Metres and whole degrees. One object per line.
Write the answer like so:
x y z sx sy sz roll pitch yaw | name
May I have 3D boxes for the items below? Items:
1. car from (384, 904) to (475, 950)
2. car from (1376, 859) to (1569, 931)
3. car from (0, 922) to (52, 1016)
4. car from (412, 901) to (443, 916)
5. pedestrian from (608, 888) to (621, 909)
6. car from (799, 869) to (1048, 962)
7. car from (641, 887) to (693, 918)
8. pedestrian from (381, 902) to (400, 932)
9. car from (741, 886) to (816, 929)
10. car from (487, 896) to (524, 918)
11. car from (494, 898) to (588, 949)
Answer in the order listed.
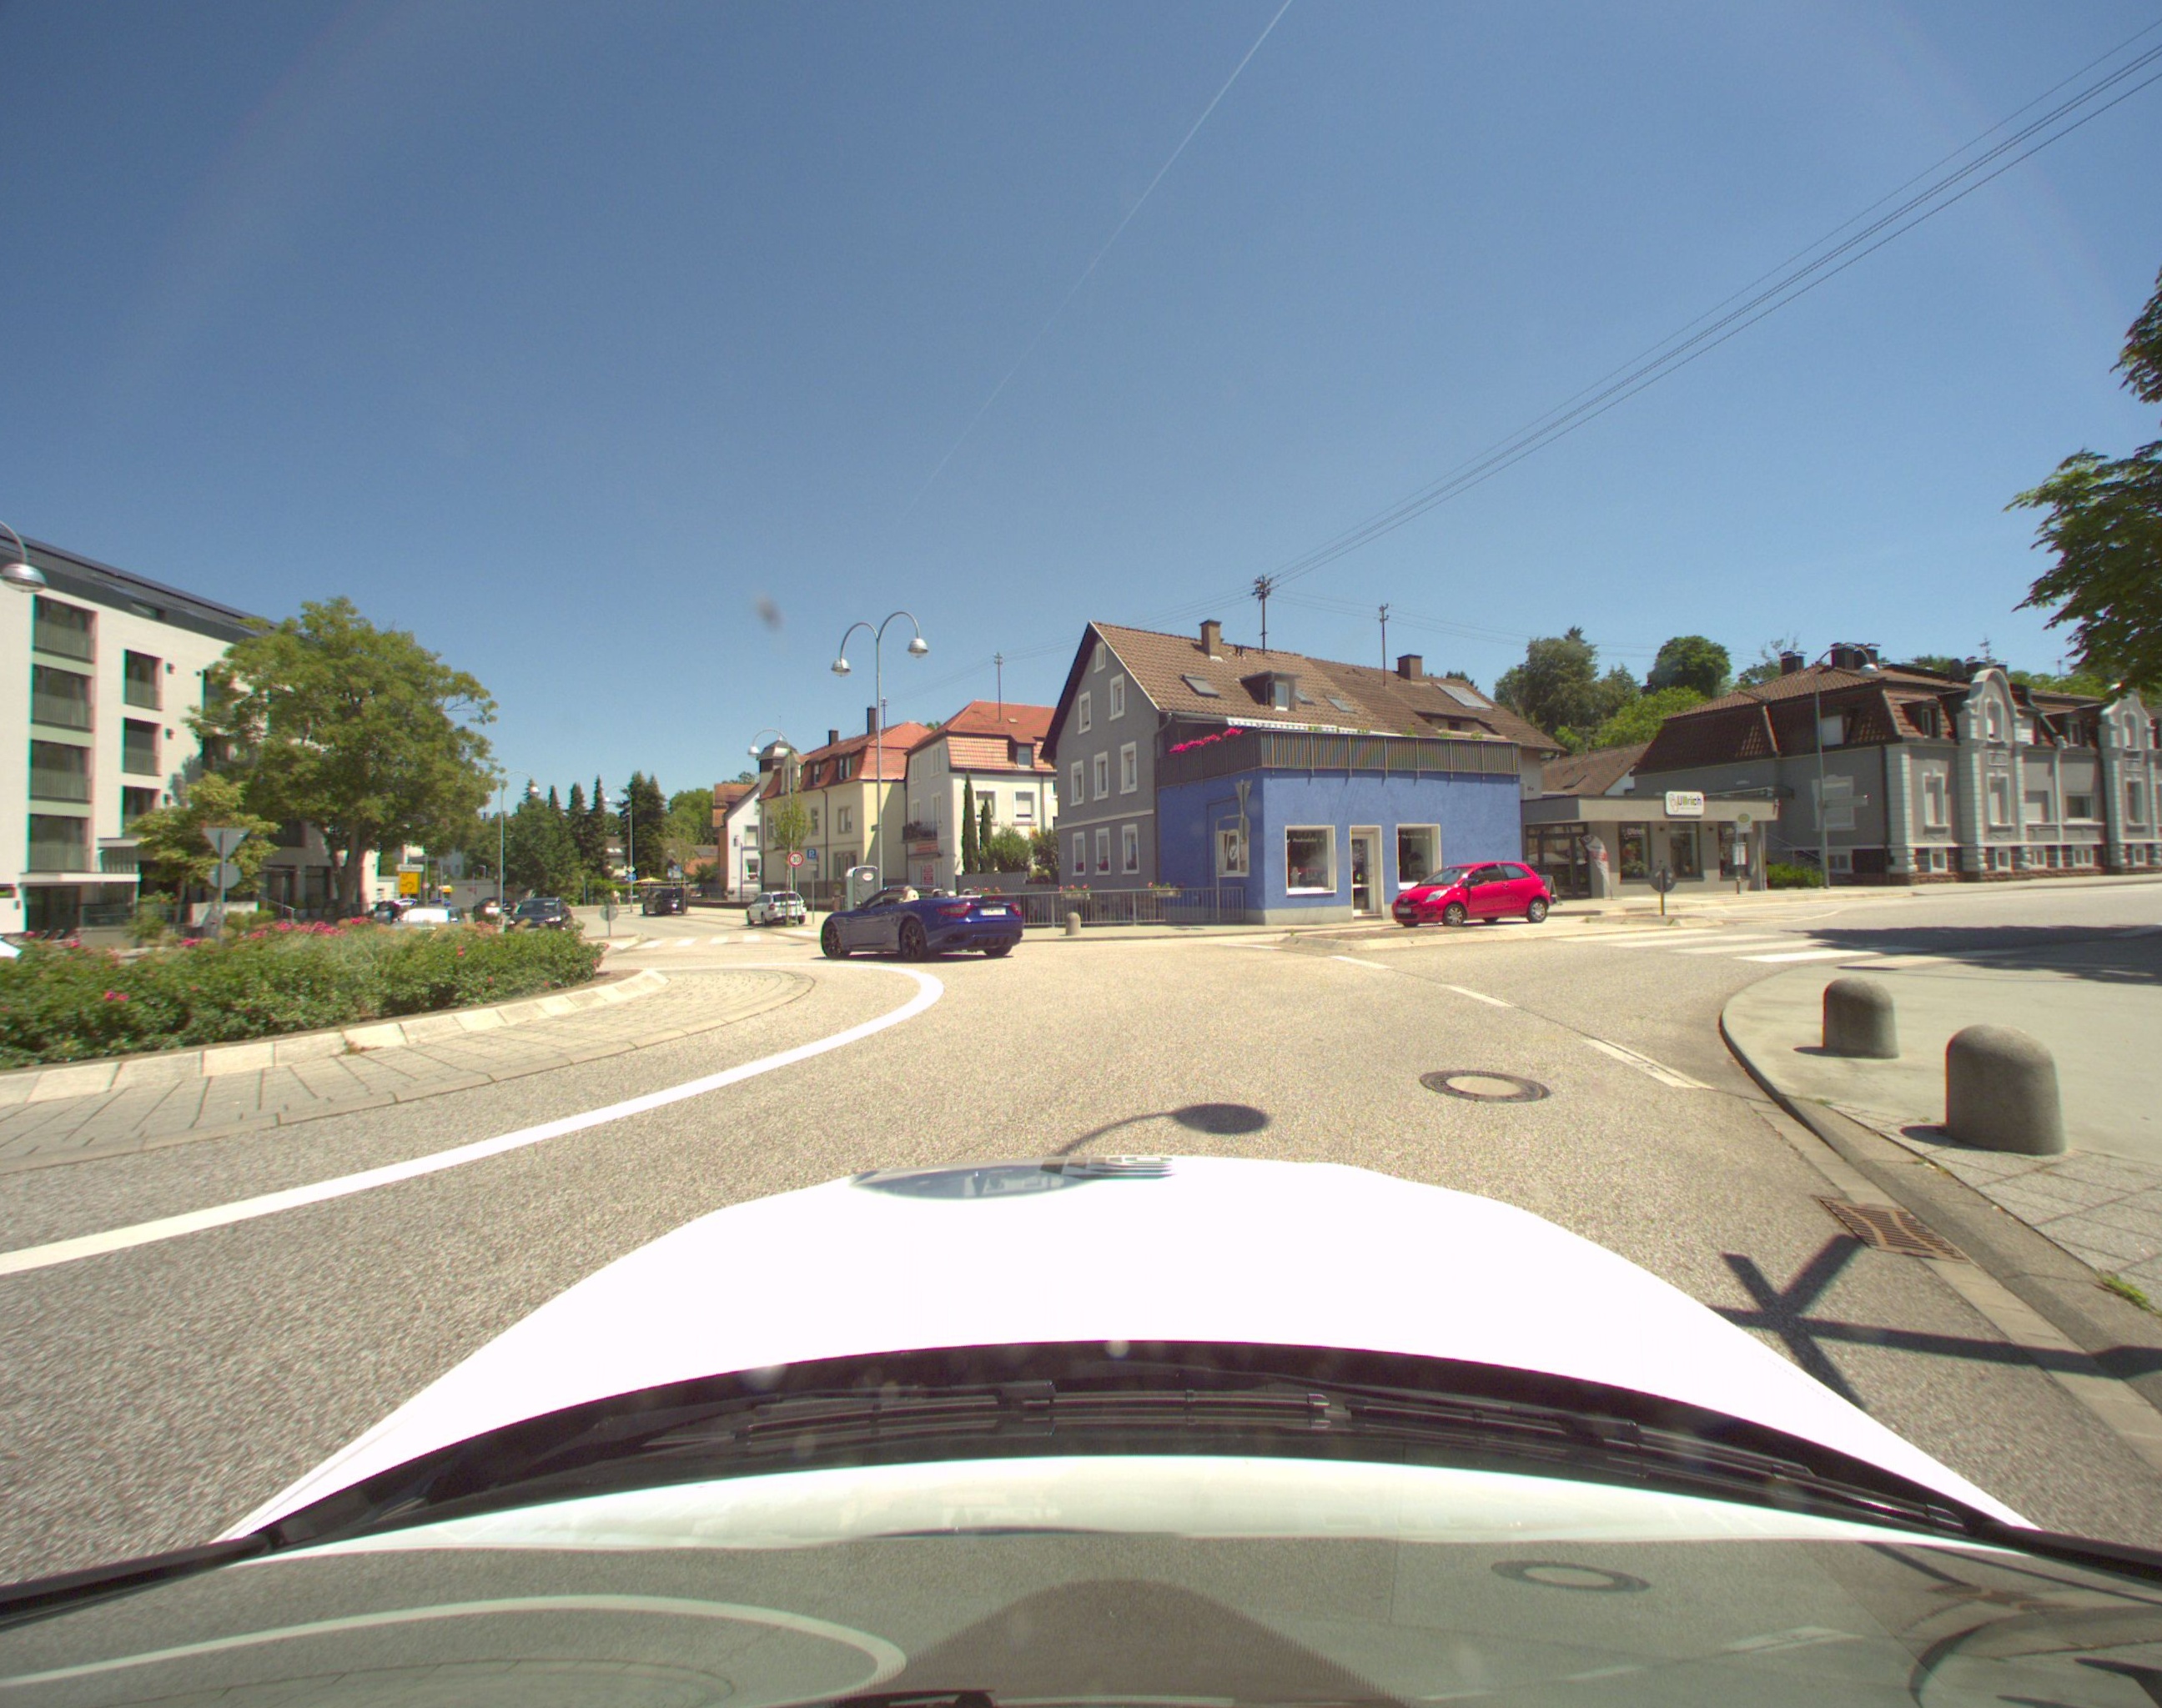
-25.434 2.787 31.940 1.804 1.590 3.967 1 -3 -25 | car
9.450 0.972 19.755 3.996 1.533 1.824 -1 -3 -17 | car
-17.344 1.797 10.817 1.922 1.382 4.284 -4 -1 -2 | car
-64.618 5.398 80.509 3.948 1.378 1.555 -3 -2 38 | car
-42.572 4.047 74.254 0.542 1.814 0.851 0 -2 36 | pedestrian
-2.945 1.109 14.548 4.567 1.398 1.994 -6 -5 42 | car
-27.648 3.205 54.342 2.011 1.865 4.235 2 -2 -42 | car
-34.783 3.162 41.048 0.531 1.485 0.553 -2 -2 -15 | pedestrian
-13.486 2.332 36.171 2.009 1.584 4.240 -6 1 -35 | car
-47.888 4.353 67.722 2.011 1.688 4.472 -1 -2 -41 | car
-20.738 2.615 31.493 2.001 1.688 4.494 -2 -2 -21 | car
